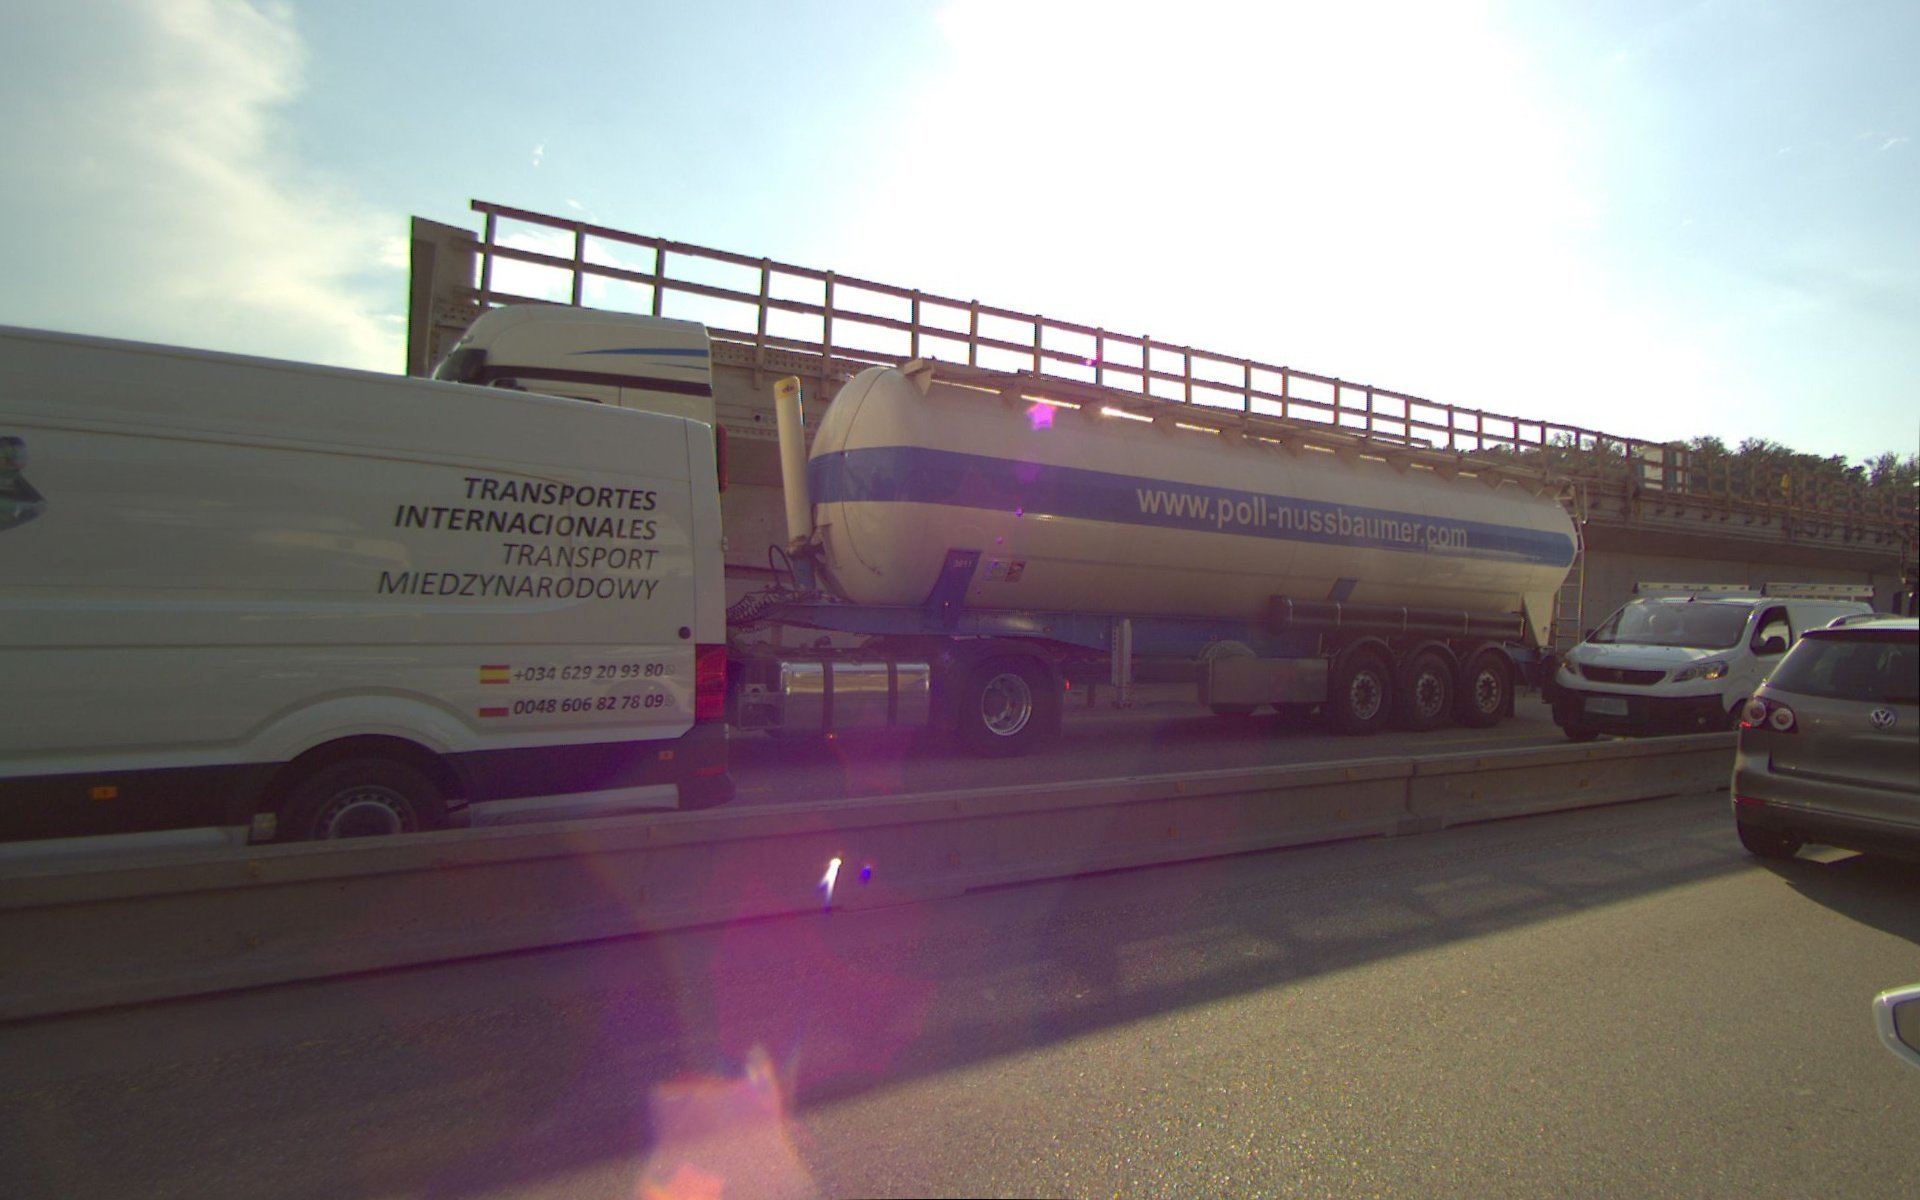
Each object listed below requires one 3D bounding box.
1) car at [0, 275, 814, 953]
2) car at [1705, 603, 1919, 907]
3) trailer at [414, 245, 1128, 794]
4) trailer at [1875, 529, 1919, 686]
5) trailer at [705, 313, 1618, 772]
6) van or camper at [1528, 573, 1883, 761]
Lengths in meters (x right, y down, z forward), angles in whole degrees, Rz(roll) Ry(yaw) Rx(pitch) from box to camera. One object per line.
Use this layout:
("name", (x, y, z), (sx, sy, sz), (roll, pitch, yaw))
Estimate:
("car", (-4.500, 0.036, 4.651), (7.324, 2.657, 1.984), (2, 0, -31))
("car", (6.839, 0.896, 6.547), (4.222, 1.609, 1.672), (2, -1, -31))
("trailer", (-1.699, -0.502, 9.920), (6.355, 3.902, 2.639), (2, 0, -31))
("trailer", (28.396, 0.298, 27.527), (7.122, 4.084, 2.758), (2, 0, -30))
("trailer", (3.654, -0.326, 13.107), (13.288, 3.902, 2.639), (2, 0, -31))
("van or camper", (9.784, 0.784, 13.046), (5.236, 2.040, 1.848), (2, 0, -32))
